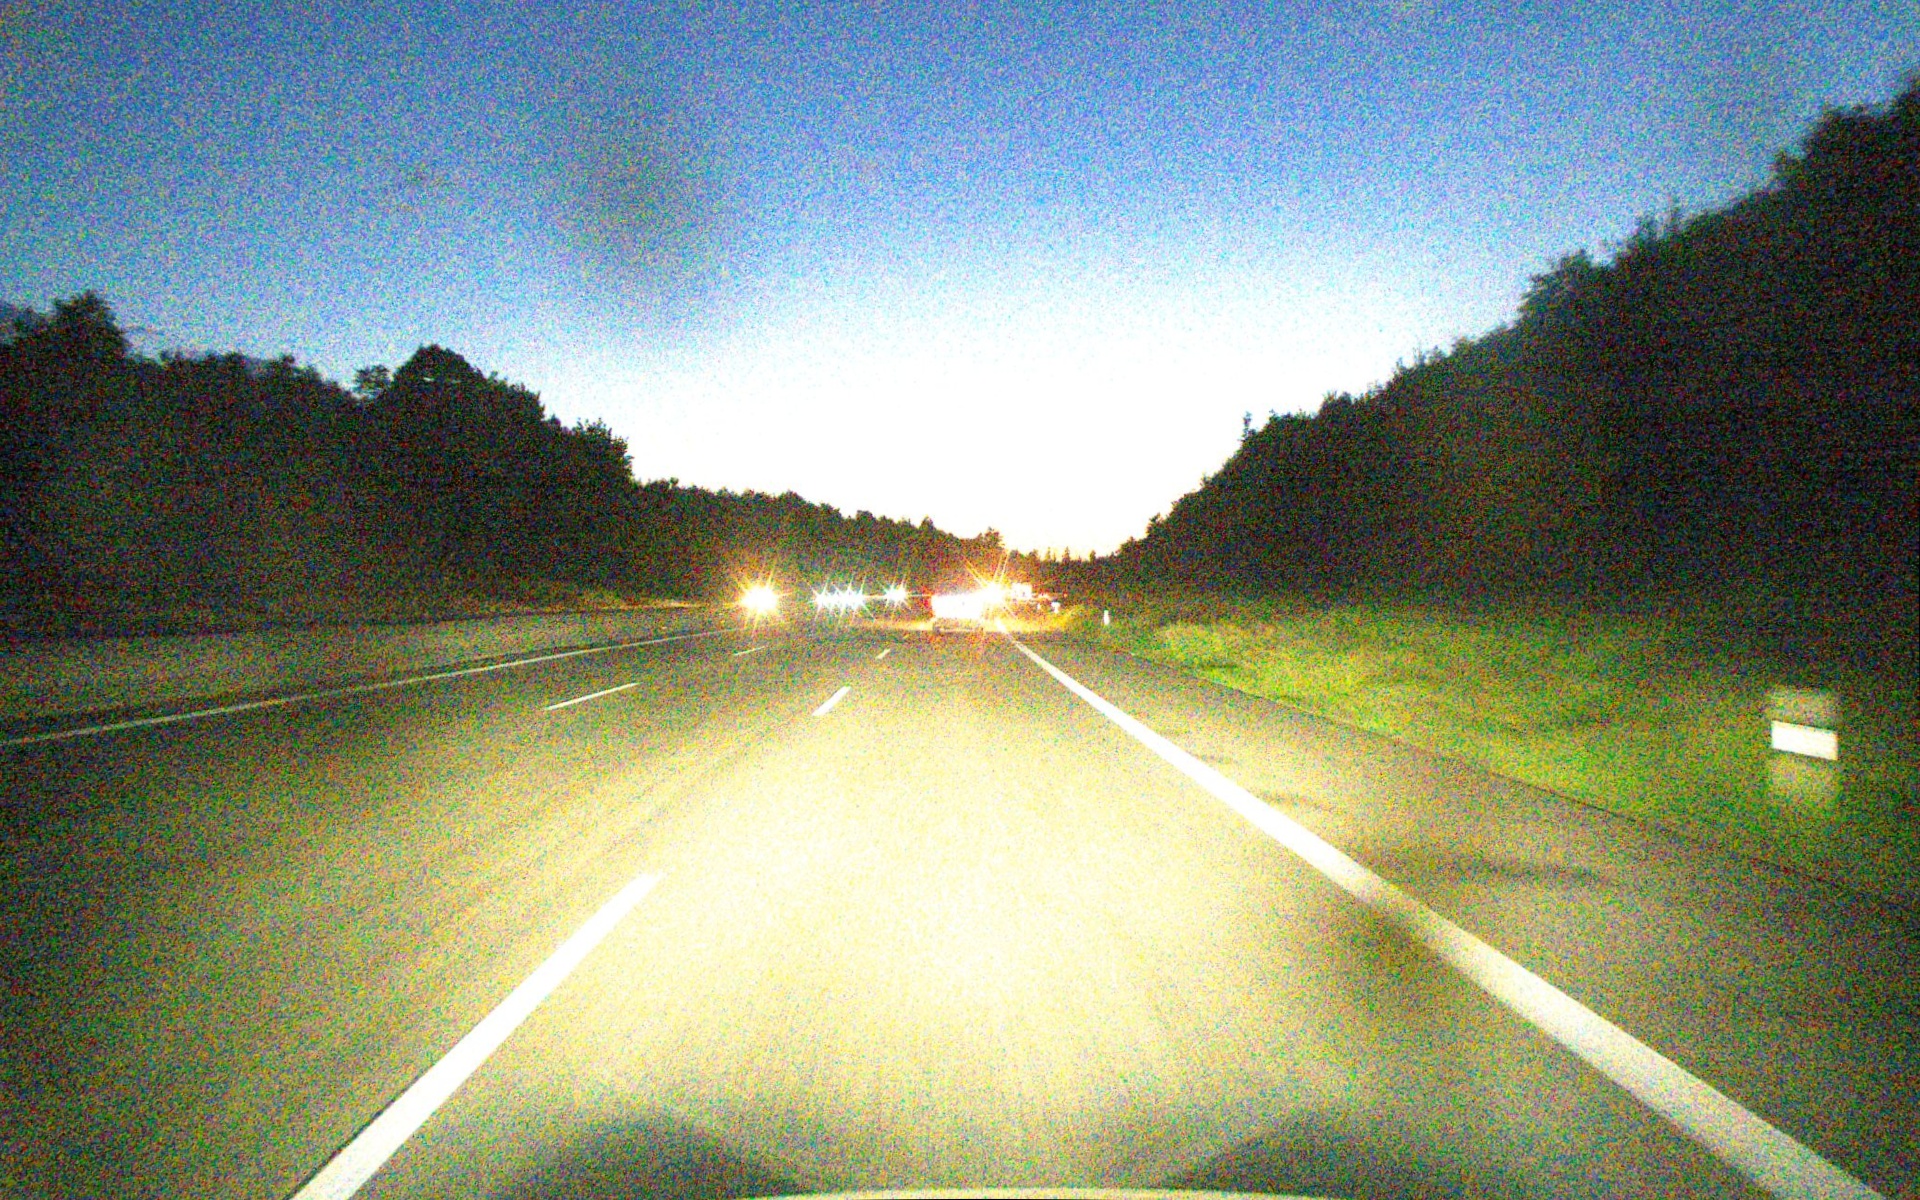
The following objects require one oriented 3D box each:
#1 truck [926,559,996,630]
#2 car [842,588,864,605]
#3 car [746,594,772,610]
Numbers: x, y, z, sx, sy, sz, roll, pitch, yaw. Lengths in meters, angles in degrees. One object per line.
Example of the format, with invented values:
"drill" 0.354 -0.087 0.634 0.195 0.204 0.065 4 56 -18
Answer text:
"truck" -0.049 -0.191 67.351 2.577 2.670 8.682 1 0 -1
"car" -11.769 -0.386 181.950 1.952 1.822 4.681 1 0 2
"car" -20.304 0.217 167.204 1.952 1.534 4.402 1 0 2
